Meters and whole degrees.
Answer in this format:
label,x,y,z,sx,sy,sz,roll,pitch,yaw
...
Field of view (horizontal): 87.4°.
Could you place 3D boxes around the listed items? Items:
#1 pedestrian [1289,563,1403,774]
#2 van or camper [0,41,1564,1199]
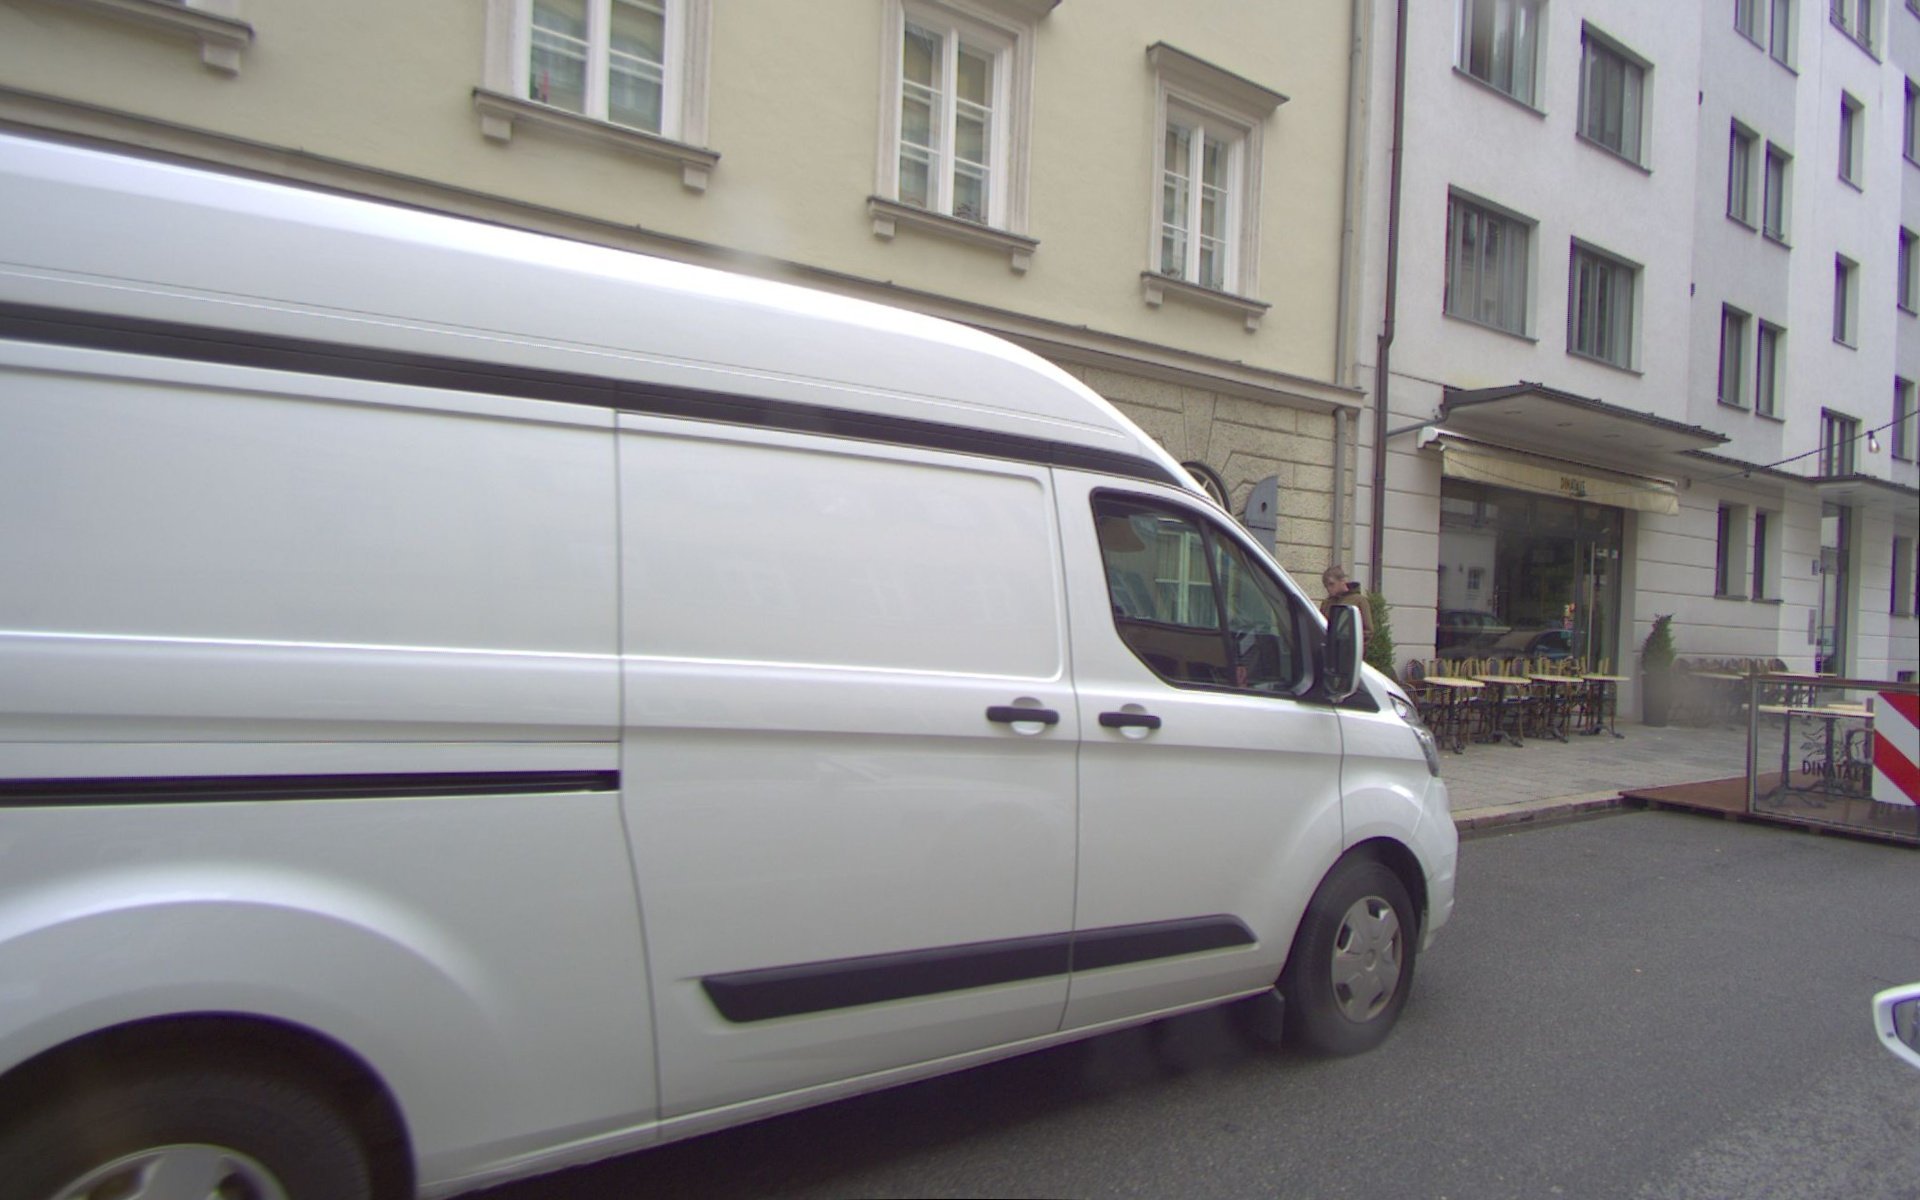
label,x,y,z,sx,sy,sz,roll,pitch,yaw
pedestrian,3.499,0.610,9.116,0.732,1.818,0.589,3,-1,-31
van or camper,-0.372,0.354,3.248,5.214,2.311,1.745,2,0,-32
